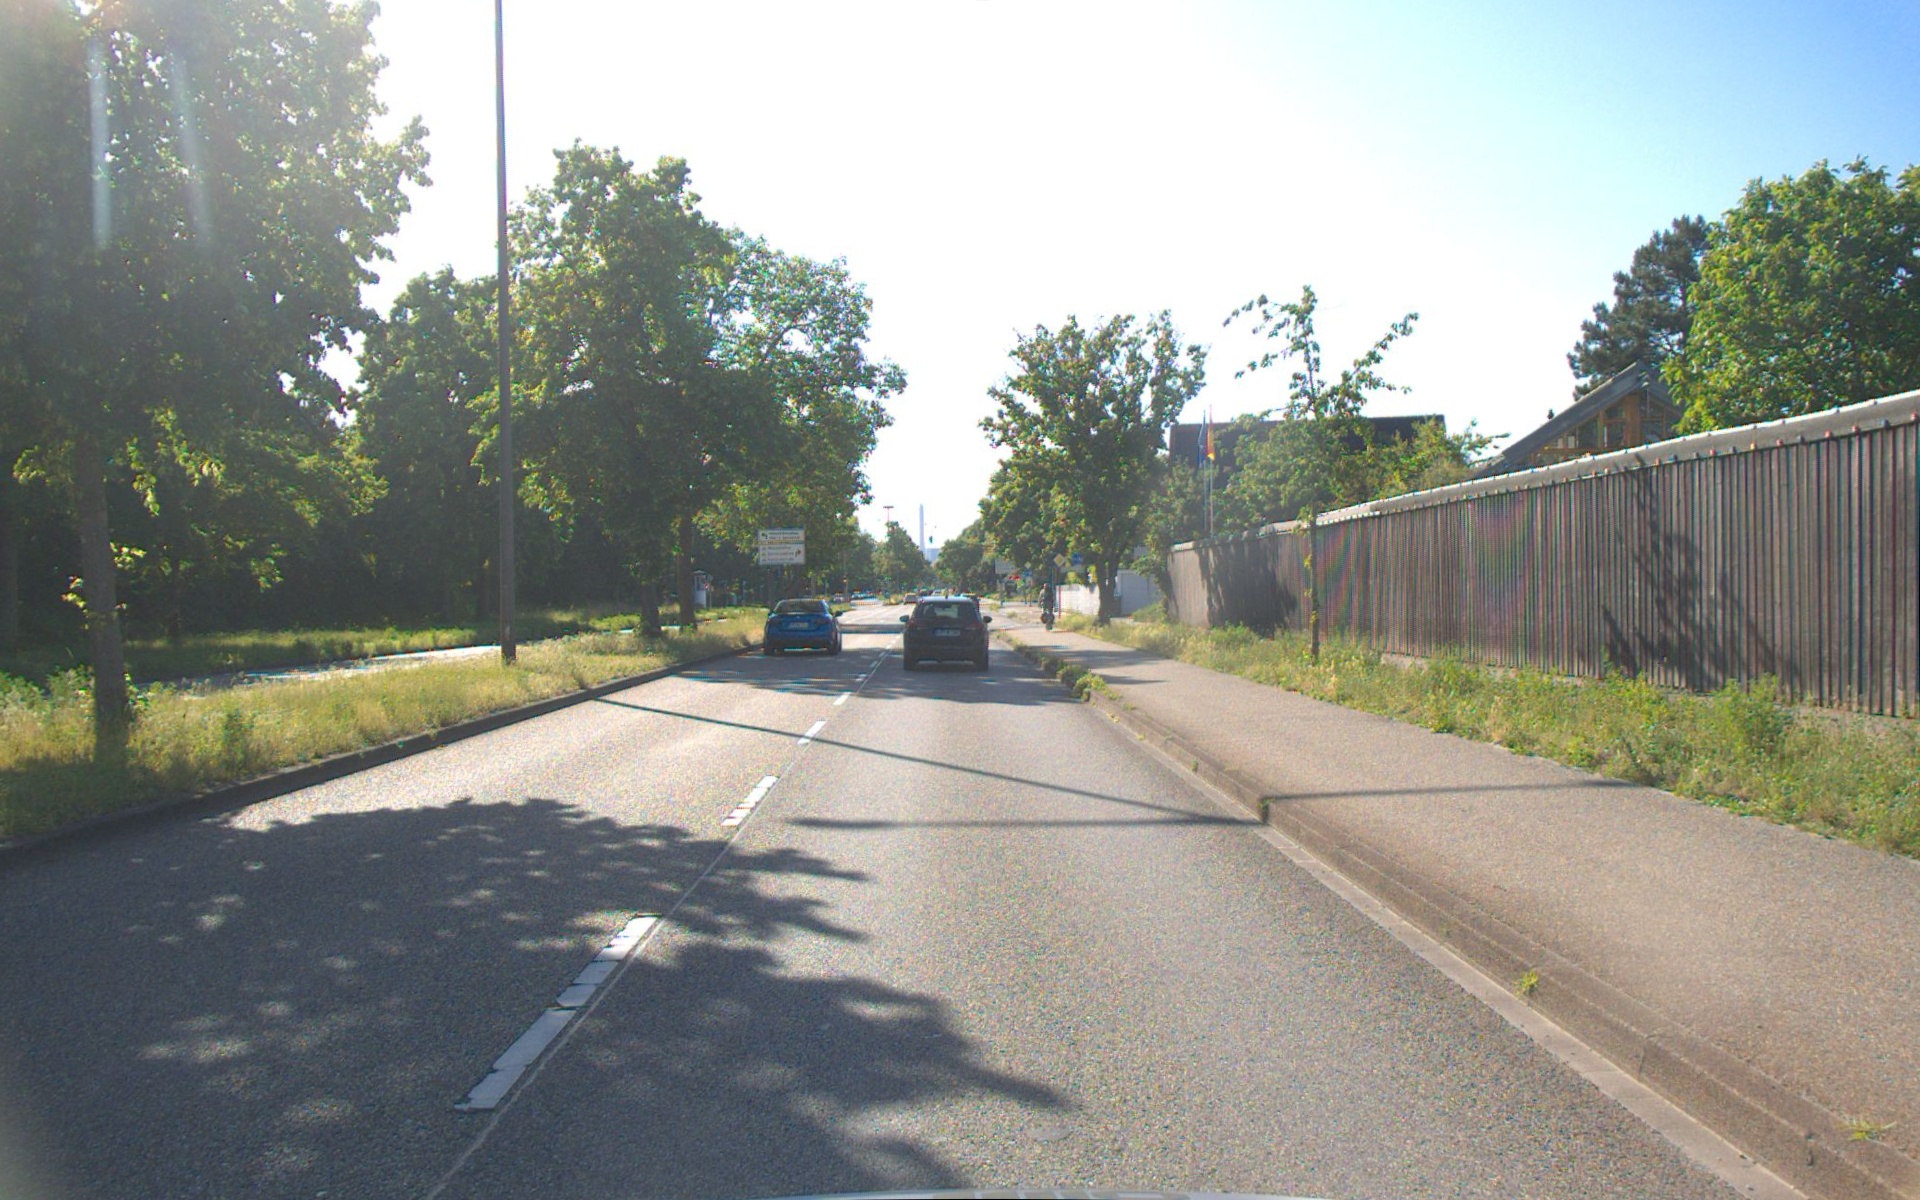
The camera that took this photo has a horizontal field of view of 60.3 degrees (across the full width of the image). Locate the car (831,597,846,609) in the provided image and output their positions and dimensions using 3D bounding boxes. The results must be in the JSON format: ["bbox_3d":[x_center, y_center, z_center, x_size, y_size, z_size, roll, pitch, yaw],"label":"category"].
[{"bbox_3d":[-18.770,0.430,255.547,1.873,1.733,4.407,1,-1,0],"label":"car"}]

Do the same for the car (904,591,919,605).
[{"bbox_3d":[-6.194,-0.320,210.761,1.788,1.643,3.839,-2,1,-2],"label":"car"}]

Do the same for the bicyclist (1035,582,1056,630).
[{"bbox_3d":[3.041,0.206,58.646,0.617,1.661,0.982,-4,0,4],"label":"bicyclist"}]

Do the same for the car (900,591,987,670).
[{"bbox_3d":[-0.355,0.613,34.465,1.720,1.535,3.808,0,0,-1],"label":"car"}]

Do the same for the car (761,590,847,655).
[{"bbox_3d":[-3.997,0.571,42.913,1.850,1.579,3.999,-1,0,-1],"label":"car"}]

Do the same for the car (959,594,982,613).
[{"bbox_3d":[0.877,0.306,132.699,1.696,1.485,3.841,-1,0,2],"label":"car"}]

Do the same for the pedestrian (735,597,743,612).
[{"bbox_3d":[-27.635,0.529,206.796,0.828,1.867,0.549,0,0,0],"label":"pedestrian"}]

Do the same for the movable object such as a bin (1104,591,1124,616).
[{"bbox_3d":[7.994,0.170,85.957,0.980,1.226,1.063,-3,-1,6],"label":"movable object such as a bin"}]

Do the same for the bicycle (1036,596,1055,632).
[{"bbox_3d":[3.037,0.494,58.671,0.562,1.175,2.142,-4,1,4],"label":"bicycle"}]

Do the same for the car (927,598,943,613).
[{"bbox_3d":[-2.772,0.569,183.322,1.697,1.613,3.839,1,0,-1],"label":"car"}]
